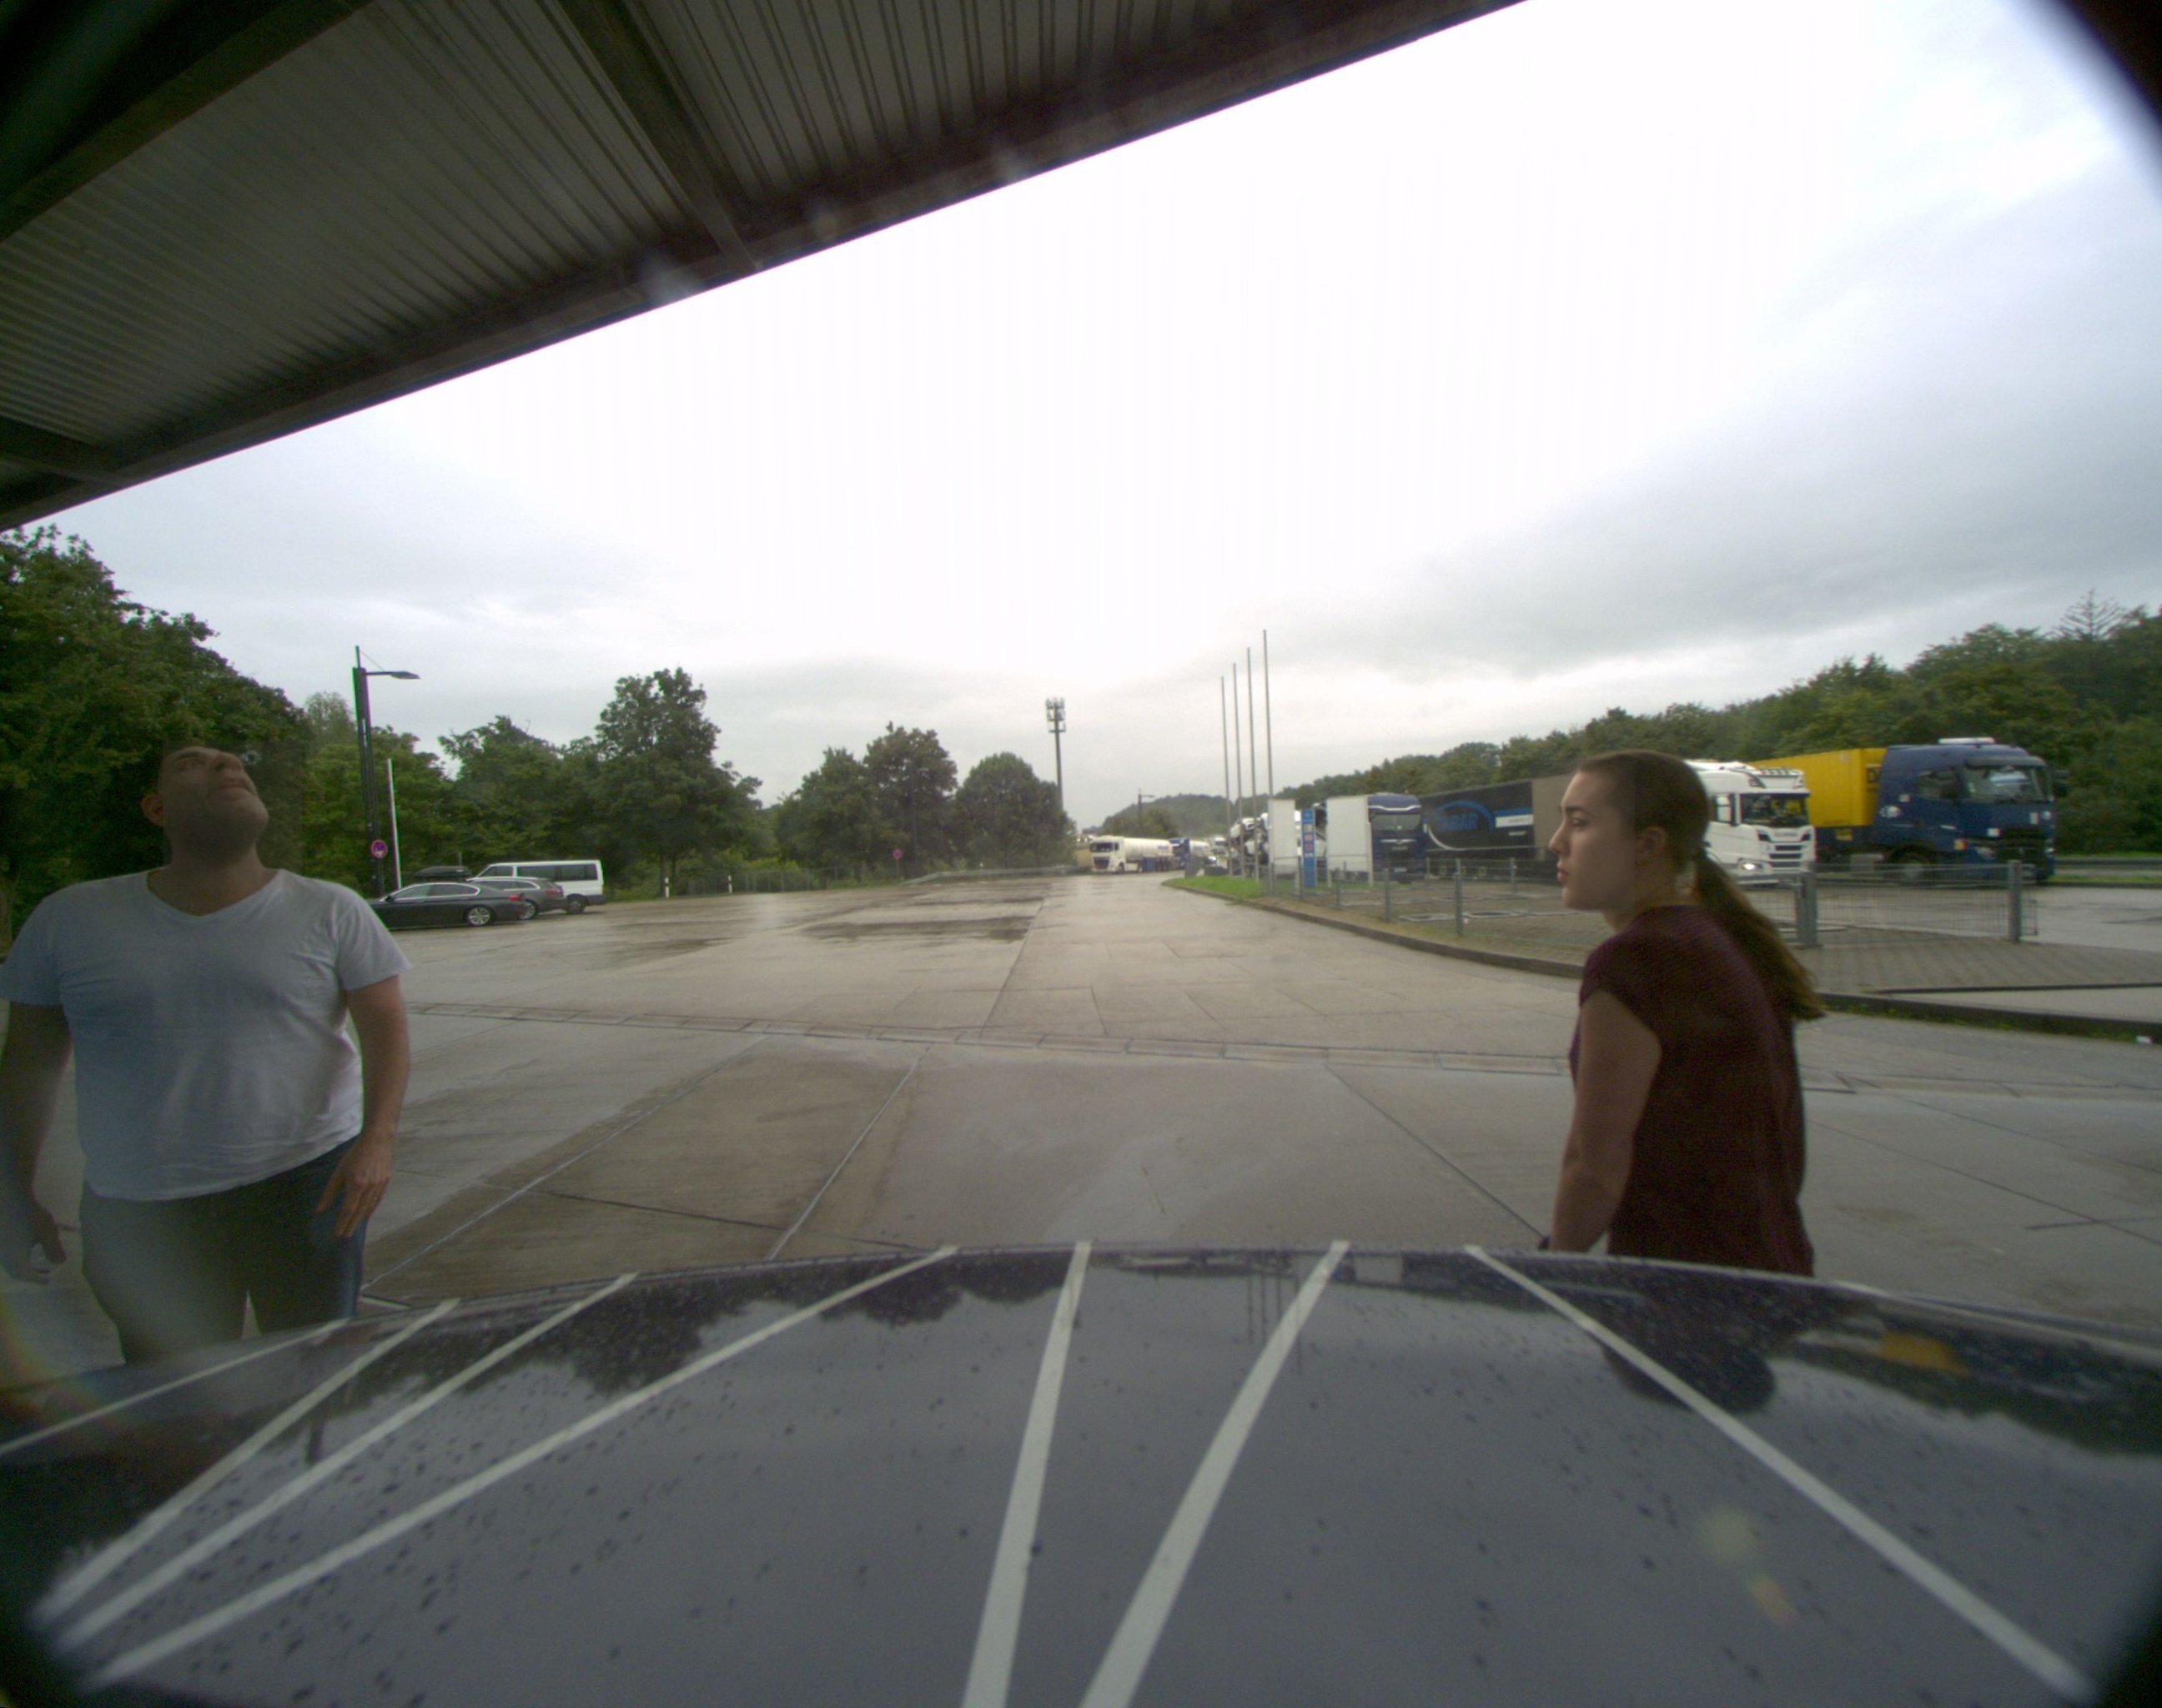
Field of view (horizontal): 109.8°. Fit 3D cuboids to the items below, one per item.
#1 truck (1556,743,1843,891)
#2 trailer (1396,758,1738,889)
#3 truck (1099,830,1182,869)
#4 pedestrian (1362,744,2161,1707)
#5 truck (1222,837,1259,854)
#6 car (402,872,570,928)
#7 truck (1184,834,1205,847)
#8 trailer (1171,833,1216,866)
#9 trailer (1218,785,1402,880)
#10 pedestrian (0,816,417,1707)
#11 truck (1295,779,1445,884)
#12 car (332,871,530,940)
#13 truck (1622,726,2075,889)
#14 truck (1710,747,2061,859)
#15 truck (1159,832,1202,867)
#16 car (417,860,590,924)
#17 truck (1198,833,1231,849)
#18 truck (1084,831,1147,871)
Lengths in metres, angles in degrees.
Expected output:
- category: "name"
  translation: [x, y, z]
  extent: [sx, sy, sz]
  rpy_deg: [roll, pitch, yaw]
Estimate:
- category: "truck"
  translation: [19.251, -1.065, 24.338]
  extent: [2.991, 4.009, 6.735]
  rpy_deg: [-2, 1, -11]
- category: "trailer"
  translation: [18.109, -0.998, 30.594]
  extent: [2.991, 4.009, 13.794]
  rpy_deg: [-2, 1, -10]
- category: "truck"
  translation: [6.201, -0.522, 76.355]
  extent: [3.243, 3.544, 11.995]
  rpy_deg: [-2, 1, 31]
- category: "pedestrian"
  translation: [0.943, 0.772, 1.018]
  extent: [0.796, 1.724, 0.839]
  rpy_deg: [-1, 1, -1]
- category: "truck"
  translation: [34.798, -1.879, 166.663]
  extent: [3.251, 3.543, 14.657]
  rpy_deg: [-2, 0, -7]
- category: "car"
  translation: [-19.598, 1.449, 25.326]
  extent: [4.187, 1.547, 1.995]
  rpy_deg: [-2, 0, -33]
- category: "truck"
  translation: [33.154, -3.954, 221.725]
  extent: [3.251, 3.543, 11.968]
  rpy_deg: [-2, 1, -5]
- category: "trailer"
  translation: [13.670, -0.650, 91.446]
  extent: [2.898, 3.618, 10.586]
  rpy_deg: [-2, 1, 22]
- category: "trailer"
  translation: [11.373, -0.998, 40.944]
  extent: [2.990, 4.009, 16.597]
  rpy_deg: [-2, 1, -7]
- category: "pedestrian"
  translation: [-1.840, 0.840, 1.504]
  extent: [0.635, 1.800, 0.493]
  rpy_deg: [-4, 3, -34]
- category: "truck"
  translation: [12.302, -0.921, 33.252]
  extent: [2.990, 4.009, 7.259]
  rpy_deg: [-2, 1, -7]
- category: "car"
  translation: [-19.124, 1.448, 22.648]
  extent: [4.187, 1.720, 1.995]
  rpy_deg: [-2, 0, -33]
- category: "truck"
  translation: [23.059, -1.211, 24.313]
  extent: [2.774, 4.009, 10.632]
  rpy_deg: [-2, 1, -8]
- category: "truck"
  translation: [33.769, -1.899, 32.934]
  extent: [2.991, 4.009, 10.464]
  rpy_deg: [-2, 1, -10]
- category: "truck"
  translation: [11.330, -0.523, 85.739]
  extent: [3.045, 3.745, 6.475]
  rpy_deg: [-2, 1, 23]
- category: "car"
  translation: [-20.739, 1.302, 27.560]
  extent: [4.780, 1.974, 2.010]
  rpy_deg: [-2, 0, -36]
- category: "truck"
  translation: [32.442, -3.054, 185.970]
  extent: [3.251, 3.543, 16.548]
  rpy_deg: [-2, 1, -7]
- category: "truck"
  translation: [3.317, -0.355, 71.443]
  extent: [3.243, 3.544, 6.114]
  rpy_deg: [-2, 1, 31]
